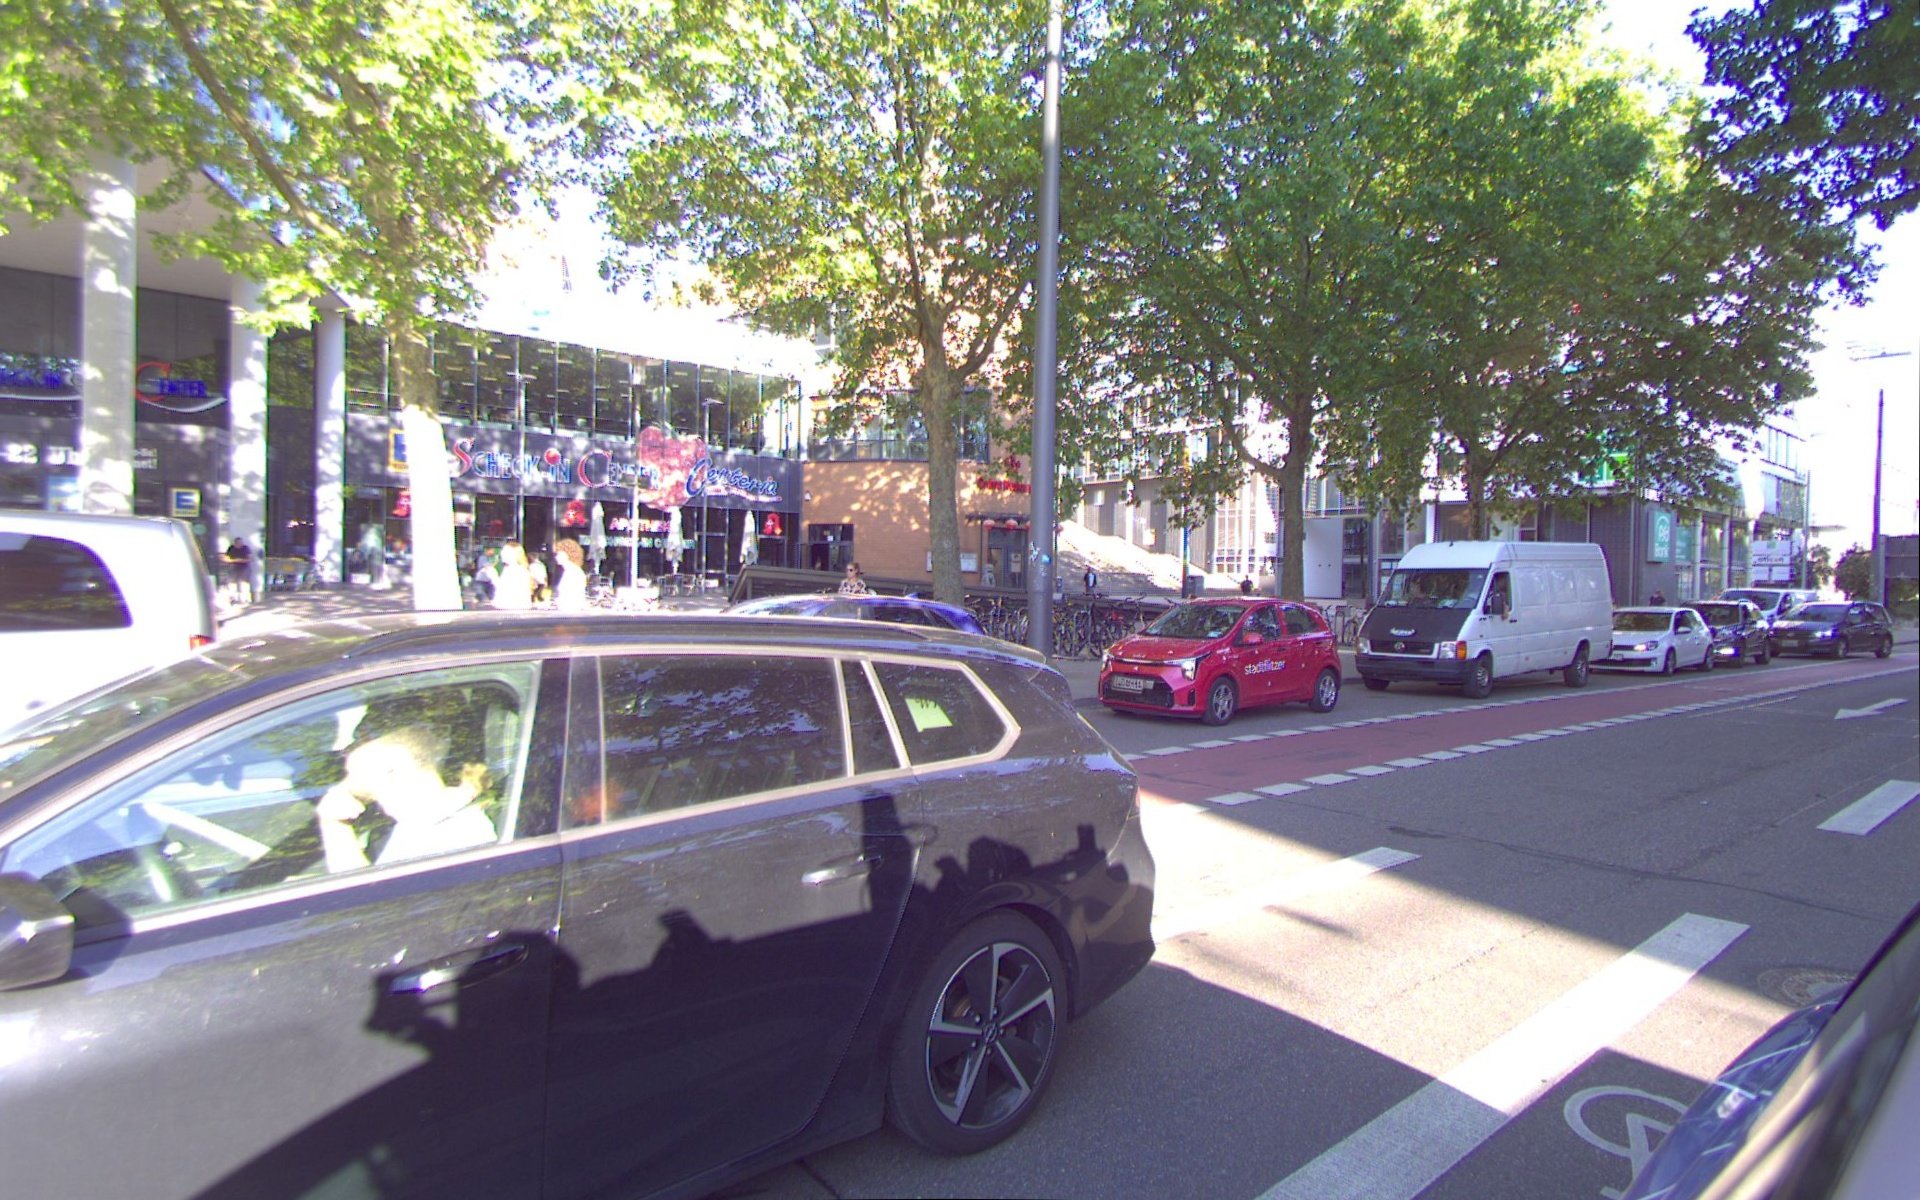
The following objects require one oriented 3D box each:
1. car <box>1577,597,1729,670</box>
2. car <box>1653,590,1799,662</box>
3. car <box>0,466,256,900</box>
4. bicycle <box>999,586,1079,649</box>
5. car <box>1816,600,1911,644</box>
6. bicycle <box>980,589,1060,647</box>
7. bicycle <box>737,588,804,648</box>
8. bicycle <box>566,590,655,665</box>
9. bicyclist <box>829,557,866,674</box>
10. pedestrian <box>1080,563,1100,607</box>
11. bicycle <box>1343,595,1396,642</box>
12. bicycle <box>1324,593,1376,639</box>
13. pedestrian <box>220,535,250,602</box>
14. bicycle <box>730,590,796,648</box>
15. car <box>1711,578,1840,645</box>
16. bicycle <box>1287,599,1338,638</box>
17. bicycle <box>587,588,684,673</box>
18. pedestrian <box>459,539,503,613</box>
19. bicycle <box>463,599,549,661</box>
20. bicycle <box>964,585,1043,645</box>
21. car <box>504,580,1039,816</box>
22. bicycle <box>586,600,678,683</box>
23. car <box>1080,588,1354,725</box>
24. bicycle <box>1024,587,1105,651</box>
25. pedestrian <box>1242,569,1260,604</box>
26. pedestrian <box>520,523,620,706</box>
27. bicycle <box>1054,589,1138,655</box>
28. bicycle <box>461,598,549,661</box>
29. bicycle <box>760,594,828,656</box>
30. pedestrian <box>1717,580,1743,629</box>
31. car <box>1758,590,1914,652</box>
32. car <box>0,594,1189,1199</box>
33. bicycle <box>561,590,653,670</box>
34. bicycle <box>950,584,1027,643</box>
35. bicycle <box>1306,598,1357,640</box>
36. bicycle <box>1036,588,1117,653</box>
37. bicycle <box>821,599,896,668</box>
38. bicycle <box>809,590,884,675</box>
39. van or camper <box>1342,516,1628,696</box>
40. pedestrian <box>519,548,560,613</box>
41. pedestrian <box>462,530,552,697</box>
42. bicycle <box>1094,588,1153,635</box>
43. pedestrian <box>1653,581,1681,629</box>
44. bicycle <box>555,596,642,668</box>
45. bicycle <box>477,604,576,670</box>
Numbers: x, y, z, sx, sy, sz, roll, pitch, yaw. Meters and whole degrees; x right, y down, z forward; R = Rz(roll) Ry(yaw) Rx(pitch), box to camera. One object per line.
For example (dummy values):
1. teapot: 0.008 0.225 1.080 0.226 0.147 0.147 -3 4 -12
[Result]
1. car: 15.342 0.676 22.342 3.927 1.446 1.683 0 1 -38
2. car: 19.202 0.592 25.318 4.148 1.640 1.819 0 1 -36
3. car: -6.205 0.356 4.382 5.008 2.004 1.940 0 2 -41
4. bicycle: 1.624 0.338 20.513 1.818 1.209 0.447 0 1 -41
5. car: 31.691 0.738 35.485 3.927 1.394 1.802 0 2 -38
6. bicycle: 1.251 0.351 20.961 1.818 1.139 0.484 0 2 -41
7. bicycle: -3.647 0.342 19.498 1.202 1.110 0.444 0 1 -40
8. bicycle: -5.364 0.405 15.581 0.372 1.110 1.269 2 1 41
9. bicyclist: -1.755 0.228 15.751 0.392 1.782 0.390 0 1 -41
10. pedestrian: 6.151 -0.702 47.785 0.861 2.062 0.585 1 1 6
11. bicycle: 11.029 0.478 27.225 1.818 1.209 0.521 0 2 -41
12. bicycle: 10.661 0.433 27.623 1.818 1.209 0.495 0 2 -41
13. pedestrian: -18.761 -0.805 26.194 0.506 1.707 0.604 1 1 -23
14. bicycle: -3.892 0.371 20.042 1.202 1.110 0.429 0 1 -40
15. car: 26.533 0.346 32.898 4.863 2.020 1.968 0 1 -35
16. bicycle: 9.921 0.505 28.447 1.818 1.046 0.515 0 2 -41
17. bicycle: -4.439 0.398 13.877 1.202 1.110 0.413 0 1 -40
18. pedestrian: -11.984 -0.599 25.332 0.869 1.805 0.604 1 1 -11
19. bicycle: -7.125 0.462 15.914 1.198 0.938 0.465 1 1 -22
20. bicycle: 0.931 0.296 21.341 1.818 1.209 0.458 0 1 -41
21. car: -1.415 0.620 8.616 4.177 1.503 1.742 0 2 -41
22. bicycle: -4.585 0.563 14.174 1.202 1.110 0.269 0 1 -40
23. car: 3.336 0.608 12.827 3.588 1.476 1.605 0 1 -41
24. bicycle: 2.106 0.362 20.252 1.818 1.209 0.484 0 2 -41
25. pedestrian: 13.372 -0.612 46.555 0.707 1.578 0.638 1 1 14
26. pedestrian: -4.161 0.141 10.807 0.800 1.868 0.642 1 1 -42
27. bicycle: 2.617 0.398 19.357 1.818 1.209 0.481 0 2 -41
28. bicycle: -6.963 0.452 15.536 1.198 0.930 0.442 1 1 -22
29. bicycle: -3.086 0.443 18.858 1.202 1.110 0.427 0 1 -40
30. pedestrian: 28.585 0.171 37.581 0.443 1.790 0.627 0 1 -38
31. car: 25.248 0.581 29.158 4.242 1.640 1.970 0 1 -28
32. car: -1.424 0.703 2.464 4.196 1.432 1.742 0 0 -41
33. bicycle: -5.162 0.423 14.833 1.202 1.110 0.396 0 1 -40
34. bicycle: 0.632 0.271 21.694 1.818 1.209 0.434 0 1 -41
35. bicycle: 10.305 0.502 28.037 1.766 1.108 0.522 0 2 -41
36. bicycle: 2.294 0.387 19.743 1.818 1.209 0.448 0 1 -41
37. bicycle: -1.696 0.541 17.004 1.202 1.110 0.420 0 1 -40
38. bicycle: -1.751 0.483 15.732 1.126 1.271 0.379 0 1 -41
39. van or camper: 9.270 0.079 17.533 6.456 2.611 1.998 0 0 -39
40. pedestrian: -11.442 -0.530 27.538 0.801 1.728 0.709 2 1 34
41. pedestrian: -5.091 0.138 11.372 0.751 1.799 0.648 1 1 -41
42. bicycle: 4.386 0.304 27.059 1.759 1.209 0.517 0 2 -41
43. pedestrian: 26.909 0.173 38.523 0.516 1.790 0.716 0 1 -39
44. bicycle: -5.816 0.495 16.327 0.414 1.110 1.269 2 1 41
45. bicycle: -6.242 0.517 14.589 1.231 0.898 0.462 0 1 -40
